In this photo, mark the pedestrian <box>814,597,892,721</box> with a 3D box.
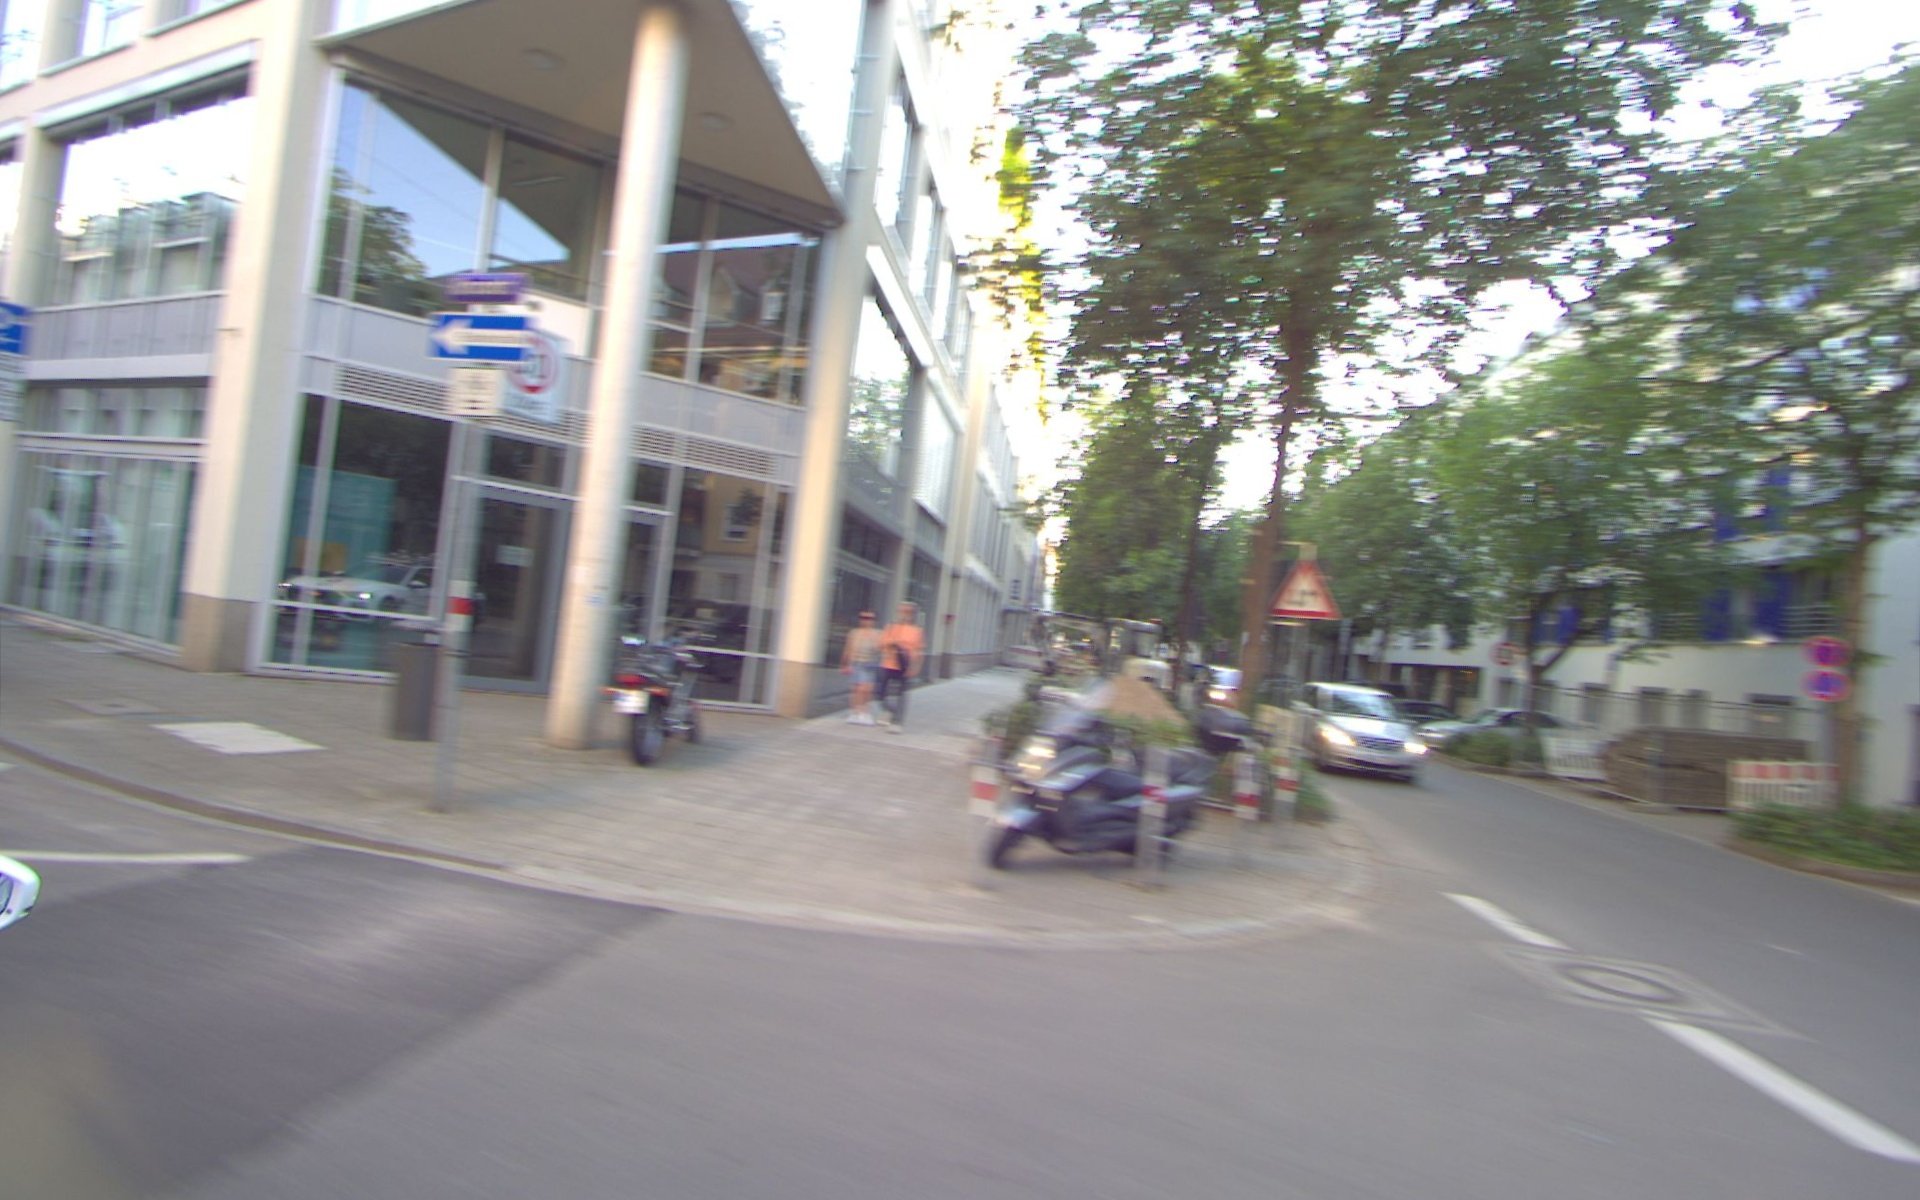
[{"bbox_3d":[-1.439,0.800,13.650,0.757,1.554,0.643,7,-1,5],"label":"pedestrian"}]

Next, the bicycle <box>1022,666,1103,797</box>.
[{"bbox_3d":[1.129,1.355,10.903,0.672,1.166,1.983,7,-1,7],"label":"bicycle"}]

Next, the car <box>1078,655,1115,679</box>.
[{"bbox_3d":[9.428,4.605,69.665,1.963,1.303,4.003,7,-2,2],"label":"car"}]

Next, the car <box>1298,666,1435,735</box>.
[{"bbox_3d":[16.760,4.118,41.689,4.665,2.037,2.002,8,-1,6],"label":"car"}]

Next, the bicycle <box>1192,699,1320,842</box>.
[{"bbox_3d":[3.090,1.743,10.703,0.672,1.166,1.982,7,-1,1],"label":"bicycle"}]

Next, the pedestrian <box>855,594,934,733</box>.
[{"bbox_3d":[-0.857,0.835,13.315,0.727,1.710,0.607,7,-1,8],"label":"pedestrian"}]

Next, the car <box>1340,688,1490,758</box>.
[{"bbox_3d":[14.753,3.955,32.822,3.924,1.603,2.003,7,-2,8],"label":"car"}]

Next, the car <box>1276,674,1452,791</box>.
[{"bbox_3d":[7.581,2.423,19.337,1.978,1.632,4.123,7,-1,7],"label":"car"}]

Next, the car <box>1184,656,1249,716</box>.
[{"bbox_3d":[9.067,3.006,35.874,1.918,1.733,4.708,7,-2,12],"label":"car"}]

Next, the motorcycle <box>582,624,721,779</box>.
[{"bbox_3d":[-2.767,0.851,9.282,0.548,1.186,2.308,7,-1,-3],"label":"motorcycle"}]

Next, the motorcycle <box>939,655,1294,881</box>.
[{"bbox_3d":[1.173,1.199,7.282,2.335,1.297,1.058,8,-1,-34],"label":"motorcycle"}]

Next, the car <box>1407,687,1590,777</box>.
[{"bbox_3d":[14.972,3.628,28.195,3.923,1.826,2.003,7,-2,10],"label":"car"}]

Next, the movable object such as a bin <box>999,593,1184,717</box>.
[{"bbox_3d":[3.136,1.337,24.951,3.984,2.411,2.786,7,-1,1],"label":"movable object such as a bin"}]
